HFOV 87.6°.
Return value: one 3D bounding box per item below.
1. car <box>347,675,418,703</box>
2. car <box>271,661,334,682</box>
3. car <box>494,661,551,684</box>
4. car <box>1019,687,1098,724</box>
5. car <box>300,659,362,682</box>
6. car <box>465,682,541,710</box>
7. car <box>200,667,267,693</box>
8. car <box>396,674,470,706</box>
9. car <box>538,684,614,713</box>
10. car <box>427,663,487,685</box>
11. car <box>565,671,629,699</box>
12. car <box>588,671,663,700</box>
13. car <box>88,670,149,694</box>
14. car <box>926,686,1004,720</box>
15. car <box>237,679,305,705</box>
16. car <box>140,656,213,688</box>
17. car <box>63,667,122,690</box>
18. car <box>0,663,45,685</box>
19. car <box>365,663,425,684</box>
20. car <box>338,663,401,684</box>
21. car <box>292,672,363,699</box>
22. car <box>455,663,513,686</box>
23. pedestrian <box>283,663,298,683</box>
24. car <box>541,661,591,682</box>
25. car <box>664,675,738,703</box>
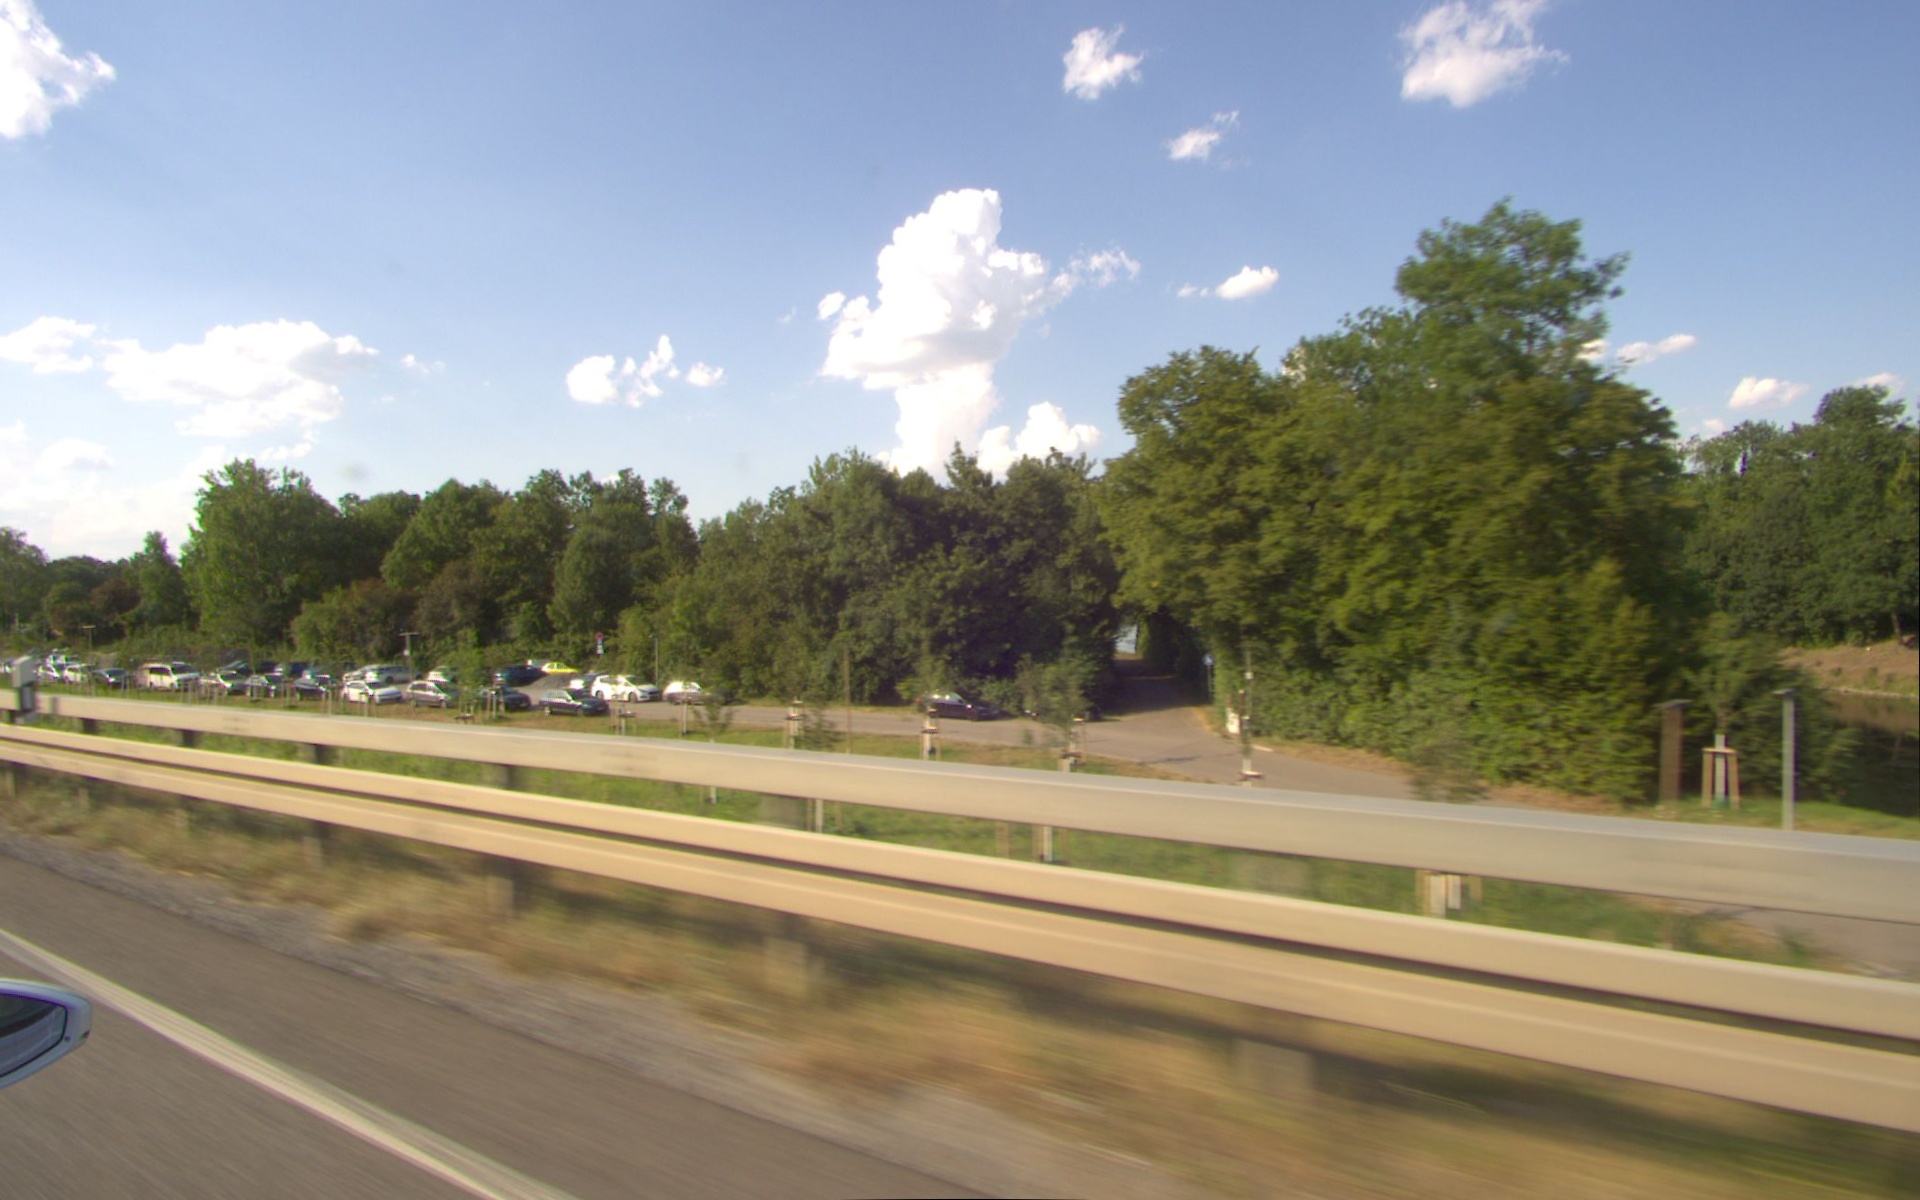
[{"bbox_3d":[-37.858,5.795,65.611,4.184,1.502,1.818,0,2,22],"label":"car"},{"bbox_3d":[-56.198,6.066,85.638,1.804,1.625,4.234,-1,-2,25],"label":"car"},{"bbox_3d":[-33.813,5.604,77.515,1.589,1.475,4.238,0,0,19],"label":"car"},{"bbox_3d":[4.971,5.296,50.588,3.618,1.516,1.657,-2,0,-16],"label":"car"},{"bbox_3d":[-52.739,5.893,84.056,1.802,1.765,4.239,0,-1,20],"label":"car"},{"bbox_3d":[-27.731,5.798,60.770,4.184,1.420,1.818,0,2,22],"label":"car"},{"bbox_3d":[-52.948,5.804,72.972,4.705,1.503,1.890,0,3,26],"label":"car"},{"bbox_3d":[-33.341,5.678,63.360,4.184,1.681,1.818,0,2,22],"label":"car"},{"bbox_3d":[-22.210,5.687,57.891,4.154,1.516,1.655,-2,-1,24],"label":"car"},{"bbox_3d":[-39.560,5.792,78.826,1.703,1.475,4.410,0,0,16],"label":"car"},{"bbox_3d":[-24.880,5.790,68.728,1.591,1.475,4.231,0,1,25],"label":"car"},{"bbox_3d":[-21.061,5.370,63.031,4.635,1.688,1.653,-2,-1,27],"label":"car"},{"bbox_3d":[-66.940,6.516,79.608,4.705,1.503,1.890,0,3,26],"label":"car"},{"bbox_3d":[0.237,5.309,52.053,3.776,1.516,1.650,-2,-1,33],"label":"car"},{"bbox_3d":[-48.483,6.457,70.458,4.320,1.502,1.818,0,2,22],"label":"car"},{"bbox_3d":[-59.173,5.403,75.639,5.292,2.046,2.117,0,3,26],"label":"car"},{"bbox_3d":[-71.702,6.476,82.731,4.705,1.581,1.890,0,3,26],"label":"car"},{"bbox_3d":[-86.238,6.755,91.880,4.709,1.581,1.888,0,3,29],"label":"car"},{"bbox_3d":[-45.035,5.878,79.919,1.589,1.474,4.240,-1,-2,19],"label":"car"},{"bbox_3d":[-47.741,5.933,81.036,1.741,1.517,4.239,0,-1,20],"label":"car"},{"bbox_3d":[-42.845,5.767,67.828,4.320,1.502,1.818,0,2,22],"label":"car"},{"bbox_3d":[-37.096,5.768,78.150,1.589,1.475,4.238,0,0,19],"label":"car"},{"bbox_3d":[-55.713,6.057,83.292,0.908,1.491,0.883,-3,3,-30],"label":"pedestrian"},{"bbox_3d":[-31.932,5.795,81.215,3.608,1.476,1.497,0,1,15],"label":"car"},{"bbox_3d":[-15.631,5.357,60.372,4.154,1.516,1.655,-2,-1,24],"label":"car"}]
